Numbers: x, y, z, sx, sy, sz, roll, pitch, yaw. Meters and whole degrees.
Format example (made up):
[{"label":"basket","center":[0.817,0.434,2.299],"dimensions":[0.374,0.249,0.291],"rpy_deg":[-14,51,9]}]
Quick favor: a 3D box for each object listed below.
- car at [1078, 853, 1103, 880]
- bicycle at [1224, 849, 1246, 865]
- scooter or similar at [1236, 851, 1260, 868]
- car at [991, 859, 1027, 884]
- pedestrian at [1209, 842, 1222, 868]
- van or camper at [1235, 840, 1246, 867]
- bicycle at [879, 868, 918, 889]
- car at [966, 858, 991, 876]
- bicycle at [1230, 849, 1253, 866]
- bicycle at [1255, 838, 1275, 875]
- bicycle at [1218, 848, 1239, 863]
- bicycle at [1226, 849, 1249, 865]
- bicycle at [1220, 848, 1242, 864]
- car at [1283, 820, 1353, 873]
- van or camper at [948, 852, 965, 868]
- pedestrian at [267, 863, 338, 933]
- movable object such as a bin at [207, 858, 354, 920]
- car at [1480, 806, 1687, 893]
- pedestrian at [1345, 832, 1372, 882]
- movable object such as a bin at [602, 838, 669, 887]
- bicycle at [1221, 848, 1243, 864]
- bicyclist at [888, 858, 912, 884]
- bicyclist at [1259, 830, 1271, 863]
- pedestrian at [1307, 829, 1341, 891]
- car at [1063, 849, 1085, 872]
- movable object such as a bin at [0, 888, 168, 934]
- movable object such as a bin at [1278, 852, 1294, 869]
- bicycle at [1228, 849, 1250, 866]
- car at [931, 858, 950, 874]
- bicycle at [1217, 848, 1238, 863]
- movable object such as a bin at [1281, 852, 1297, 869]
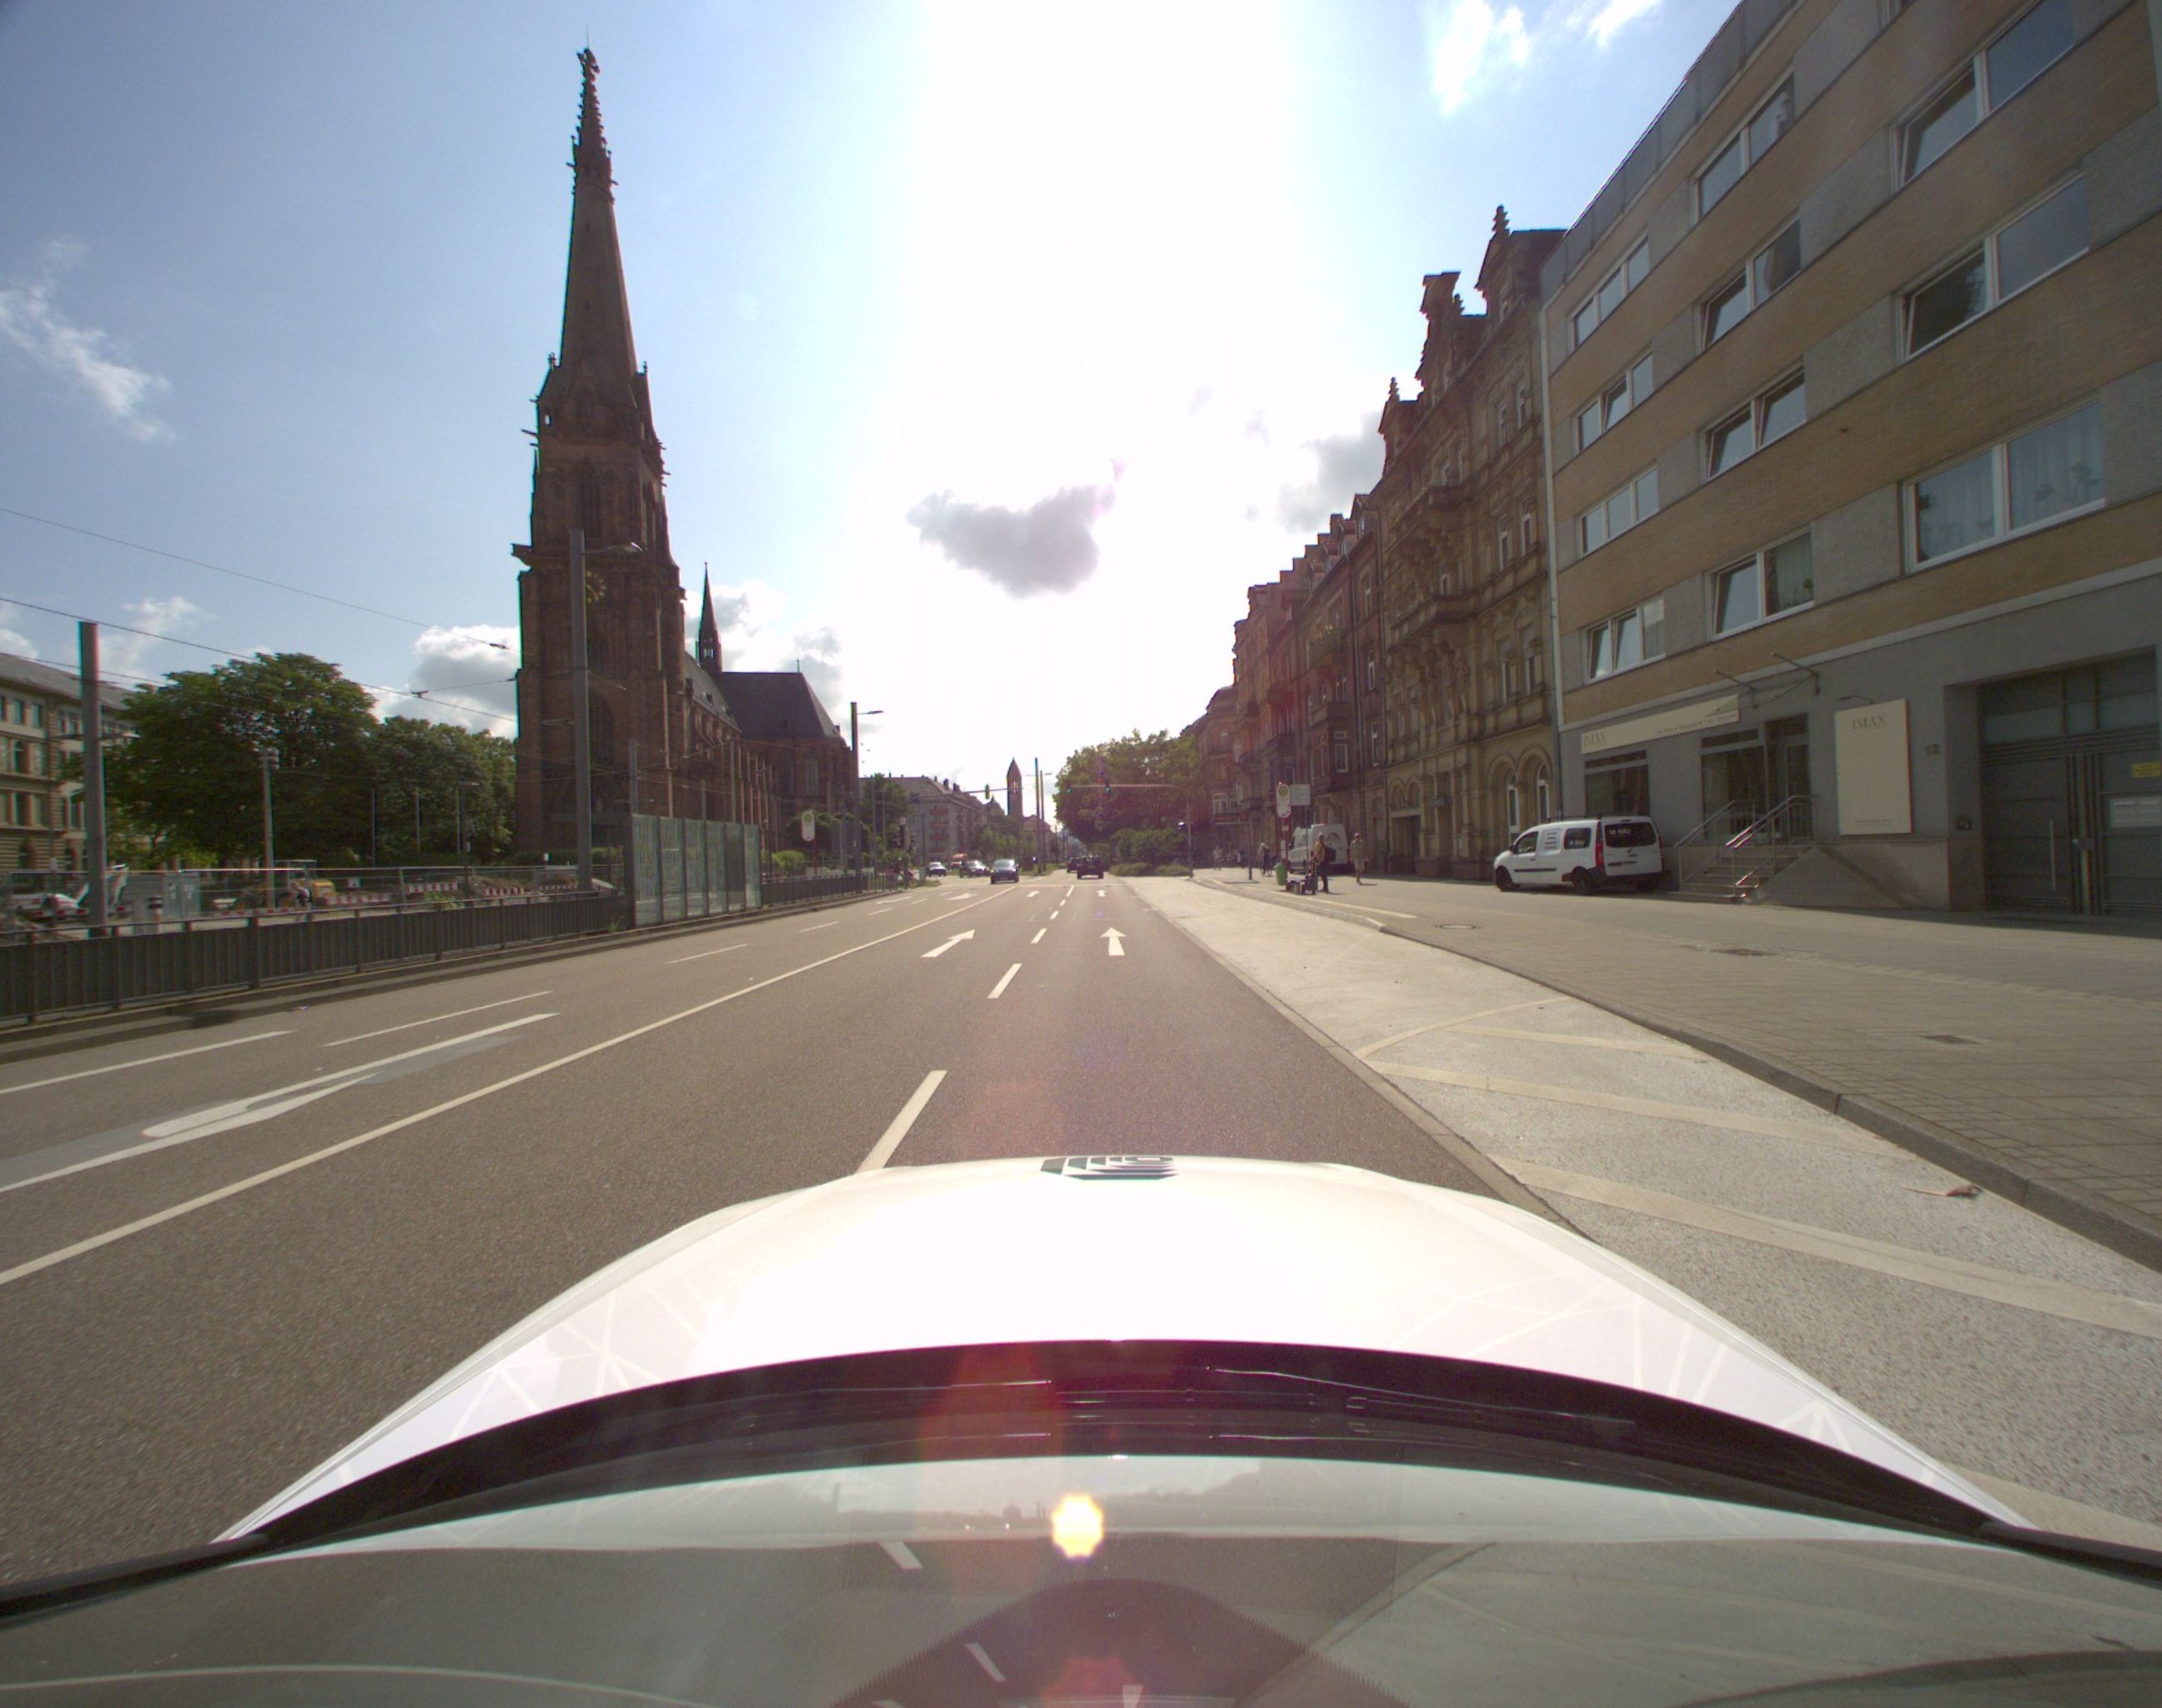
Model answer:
[{"label":"car","center":[0.639,0.853,58.259],"dimensions":[1.684,1.711,3.608],"rpy_deg":[-2,2,-1]},{"label":"bicycle","center":[12.930,0.215,68.542],"dimensions":[1.761,1.267,0.467],"rpy_deg":[-2,2,4]},{"label":"scooter or similar","center":[13.073,0.443,63.836],"dimensions":[1.763,1.185,0.466],"rpy_deg":[-4,-1,0]},{"label":"car","center":[-4.494,1.096,51.331],"dimensions":[1.910,1.417,3.740],"rpy_deg":[-2,0,-1]},{"label":"pedestrian","center":[10.447,0.069,63.293],"dimensions":[0.765,2.013,0.715],"rpy_deg":[-3,0,1]},{"label":"van or camper","center":[12.229,-0.052,62.382],"dimensions":[0.664,2.013,0.638],"rpy_deg":[-3,0,1]},{"label":"bicycle","center":[-10.646,1.445,47.531],"dimensions":[2.005,1.126,0.934],"rpy_deg":[-2,0,11]},{"label":"car","center":[-9.346,1.198,74.786],"dimensions":[1.813,1.552,4.557],"rpy_deg":[-2,0,-2]},{"label":"bicycle","center":[13.125,0.266,66.509],"dimensions":[1.761,1.267,0.467],"rpy_deg":[-2,2,4]},{"label":"bicycle","center":[9.769,0.144,43.335],"dimensions":[0.681,1.925,1.590],"rpy_deg":[-3,0,2]},{"label":"bicycle","center":[12.872,0.153,71.048],"dimensions":[1.761,1.267,0.467],"rpy_deg":[-2,2,4]},{"label":"bicycle","center":[13.000,0.229,67.723],"dimensions":[1.761,1.267,0.467],"rpy_deg":[-2,2,4]},{"label":"bicycle","center":[12.873,0.157,69.968],"dimensions":[1.761,1.267,0.467],"rpy_deg":[-2,2,4]},{"label":"car","center":[12.333,-0.378,42.850],"dimensions":[1.986,2.525,5.889],"rpy_deg":[-2,0,1]},{"label":"van or camper","center":[-22.060,1.016,144.268],"dimensions":[2.250,2.737,6.196],"rpy_deg":[-2,0,-3]},{"label":"pedestrian","center":[-23.507,1.296,24.620],"dimensions":[1.061,2.013,1.052],"rpy_deg":[-3,0,4]},{"label":"movable object such as a bin","center":[-40.917,1.742,41.726],"dimensions":[5.132,2.911,1.995],"rpy_deg":[-2,0,-7]},{"label":"car","center":[12.384,-0.069,20.549],"dimensions":[1.990,1.862,4.744],"rpy_deg":[-2,-1,-5]},{"label":"pedestrian","center":[10.421,0.123,30.622],"dimensions":[0.662,1.836,0.693],"rpy_deg":[-3,0,-6]},{"label":"movable object such as a bin","center":[-30.596,0.540,56.082],"dimensions":[1.984,3.105,4.007],"rpy_deg":[-2,2,5]},{"label":"bicycle","center":[12.865,0.188,69.344],"dimensions":[1.761,1.267,0.467],"rpy_deg":[-2,2,4]},{"label":"bicyclist","center":[-10.552,0.999,47.576],"dimensions":[1.082,1.436,0.827],"rpy_deg":[-2,0,10]},{"label":"bicyclist","center":[9.784,-0.384,43.250],"dimensions":[0.426,1.718,0.828],"rpy_deg":[-2,0,2]},{"label":"pedestrian","center":[7.688,0.184,25.783],"dimensions":[0.664,1.903,0.690],"rpy_deg":[-2,0,-18]},{"label":"car","center":[-0.688,0.617,78.879],"dimensions":[1.988,2.013,3.997],"rpy_deg":[-3,0,-2]},{"label":"movable object such as a bin","center":[-40.870,2.284,33.280],"dimensions":[1.995,1.502,5.133],"rpy_deg":[-2,0,-12]},{"label":"movable object such as a bin","center":[13.582,0.423,53.984],"dimensions":[0.783,1.107,0.776],"rpy_deg":[-2,0,-1]},{"label":"bicycle","center":[13.023,0.280,67.092],"dimensions":[1.738,1.267,0.467],"rpy_deg":[-2,2,4]},{"label":"car","center":[-15.201,1.278,87.791],"dimensions":[1.801,1.552,4.276],"rpy_deg":[-1,0,-13]},{"label":"bicycle","center":[12.872,0.141,71.707],"dimensions":[1.761,1.267,0.467],"rpy_deg":[-2,2,4]},{"label":"movable object such as a bin","center":[13.586,0.417,53.228],"dimensions":[0.783,1.107,0.776],"rpy_deg":[-2,0,-1]}]
